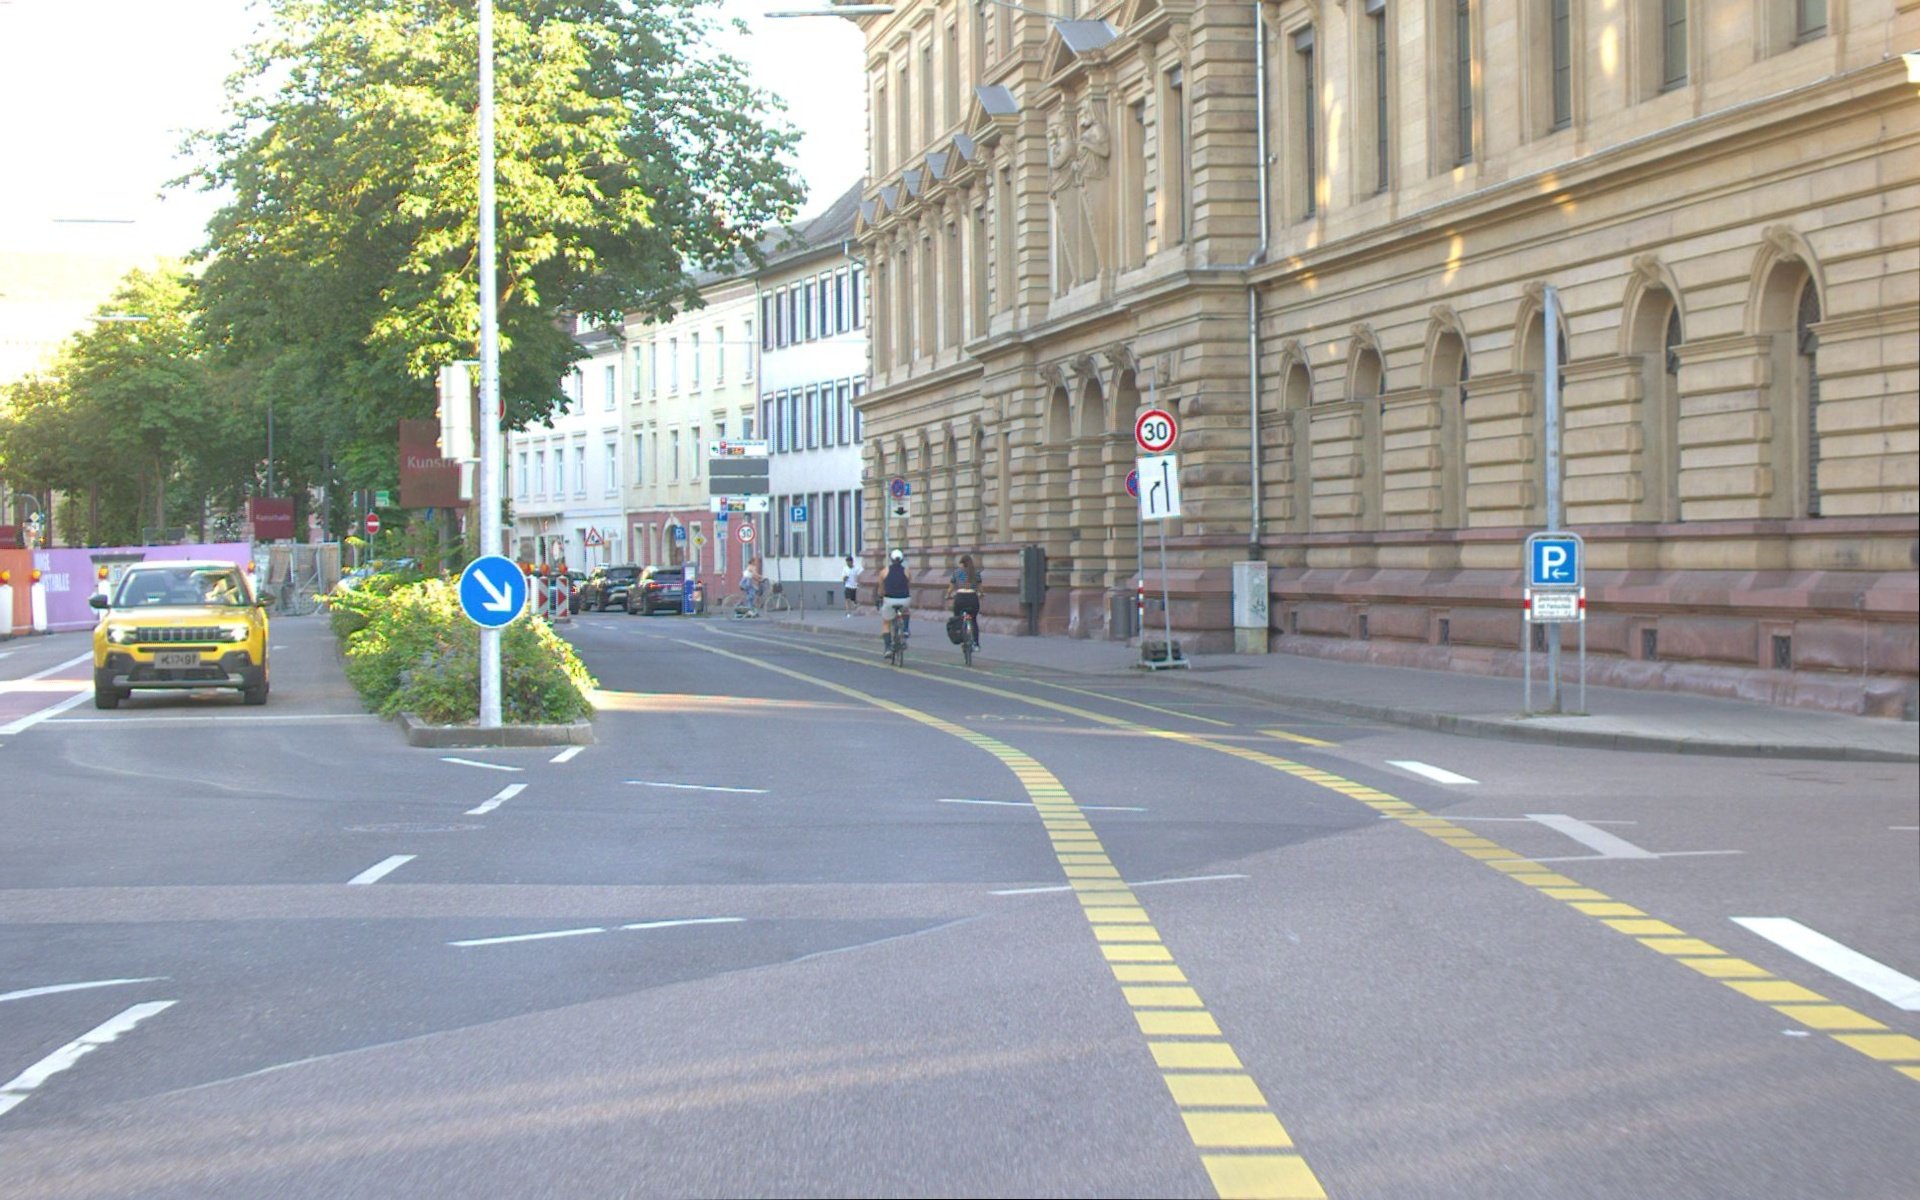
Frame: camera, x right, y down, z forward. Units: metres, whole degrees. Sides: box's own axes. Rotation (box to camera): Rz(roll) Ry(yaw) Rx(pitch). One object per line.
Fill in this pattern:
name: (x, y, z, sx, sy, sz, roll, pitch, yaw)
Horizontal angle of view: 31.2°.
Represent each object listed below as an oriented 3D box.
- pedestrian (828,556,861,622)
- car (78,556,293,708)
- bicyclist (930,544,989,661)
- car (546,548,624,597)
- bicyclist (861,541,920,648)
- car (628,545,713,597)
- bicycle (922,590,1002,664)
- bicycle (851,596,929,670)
pedestrian: (-3.121, -0.302, 92.613, 0.816, 1.759, 1.038, 1, 1, -5)
car: (-8.379, 0.302, 37.483, 1.845, 1.542, 4.119, -1, 1, -7)
bicyclist: (-0.011, 0.029, 52.414, 0.649, 1.754, 0.864, 2, 0, -14)
car: (-13.134, -0.948, 120.272, 1.812, 1.678, 4.001, 0, 0, -20)
bicyclist: (-1.042, -0.087, 51.222, 0.668, 1.560, 0.699, 2, 0, -16)
car: (-9.519, -0.945, 112.705, 1.812, 1.677, 3.920, 0, 0, -20)
bicycle: (0.018, 0.402, 52.320, 0.652, 1.067, 2.259, 2, 0, -14)
bicycle: (-1.052, 0.481, 51.209, 0.669, 1.067, 1.902, 1, 0, -17)
